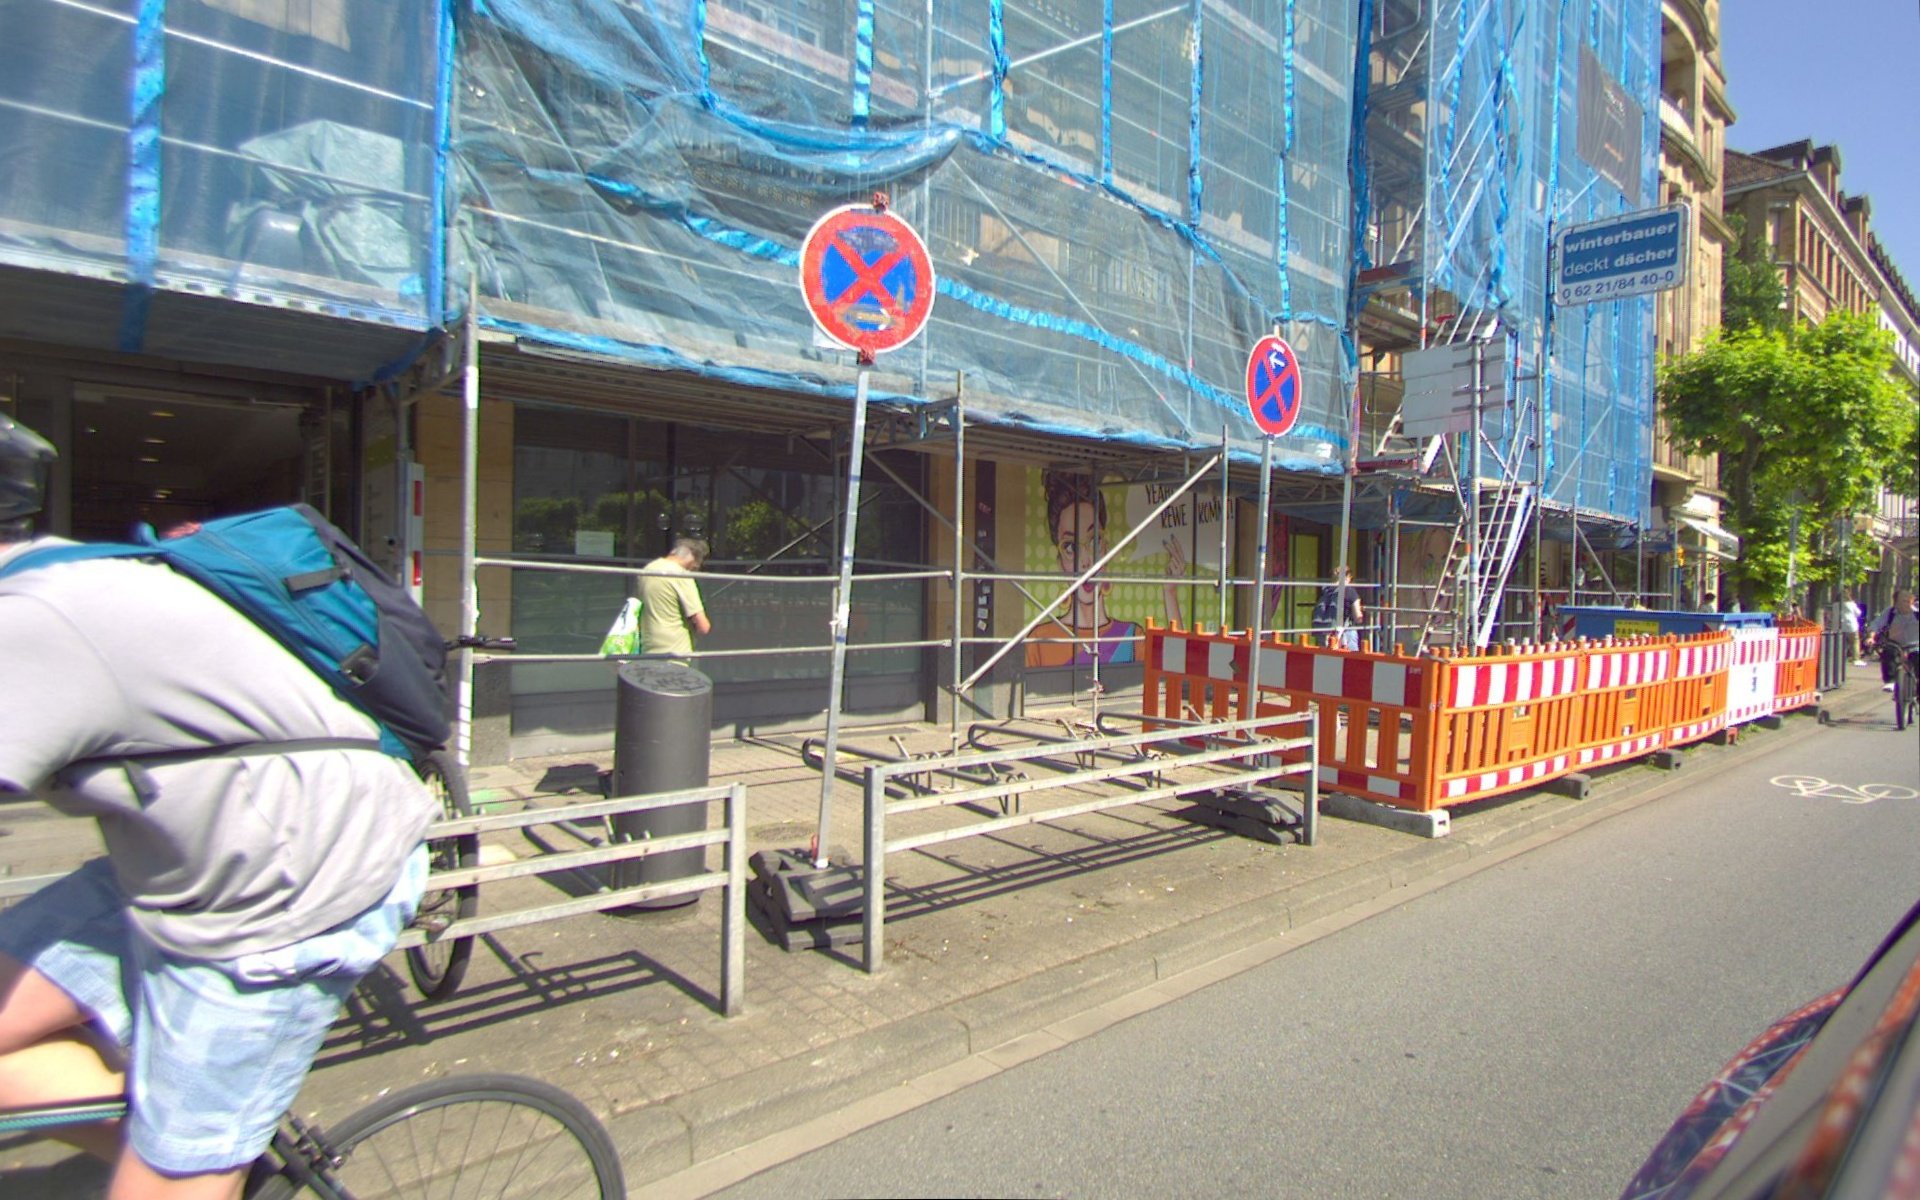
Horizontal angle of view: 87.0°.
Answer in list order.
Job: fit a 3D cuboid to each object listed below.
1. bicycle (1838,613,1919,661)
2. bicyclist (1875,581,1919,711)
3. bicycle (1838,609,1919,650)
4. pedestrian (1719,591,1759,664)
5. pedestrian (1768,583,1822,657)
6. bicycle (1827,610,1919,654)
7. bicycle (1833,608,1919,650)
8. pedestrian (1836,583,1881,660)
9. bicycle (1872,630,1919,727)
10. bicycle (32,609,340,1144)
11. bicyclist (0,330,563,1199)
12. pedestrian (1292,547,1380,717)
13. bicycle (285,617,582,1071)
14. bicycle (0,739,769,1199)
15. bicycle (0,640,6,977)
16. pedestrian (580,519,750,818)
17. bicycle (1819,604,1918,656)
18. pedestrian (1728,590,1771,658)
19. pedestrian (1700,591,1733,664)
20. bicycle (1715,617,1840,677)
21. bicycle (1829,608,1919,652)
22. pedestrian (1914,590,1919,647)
[{"bbox_3d":[21.371,0.838,23.469,0.646,1.031,1.755,0,0,6],"label":"bicycle"},{"bbox_3d":[12.063,0.561,12.689,0.764,1.597,0.749,0,-2,-41],"label":"bicyclist"},{"bbox_3d":[24.059,0.757,26.362,0.474,1.031,1.755,0,0,-42],"label":"bicycle"},{"bbox_3d":[18.568,0.651,24.135,0.527,1.703,0.499,1,2,5],"label":"pedestrian"},{"bbox_3d":[21.696,0.495,26.308,0.874,1.871,0.818,0,2,-33],"label":"pedestrian"},{"bbox_3d":[22.686,0.777,25.096,0.547,1.031,1.755,0,0,-42],"label":"bicycle"},{"bbox_3d":[23.595,0.733,25.973,0.474,1.031,1.755,0,0,-42],"label":"bicycle"},{"bbox_3d":[20.351,0.464,22.940,0.654,1.704,0.646,0,1,33],"label":"pedestrian"},{"bbox_3d":[12.046,0.947,12.664,1.865,1.107,0.735,0,-1,-42],"label":"bicycle"},{"bbox_3d":[-2.399,0.630,3.134,0.598,1.193,1.697,0,-1,-39],"label":"bicycle"},{"bbox_3d":[-1.225,0.456,1.358,1.123,1.481,0.689,0,-2,-42],"label":"bicyclist"},{"bbox_3d":[4.143,0.343,11.154,0.638,1.799,0.640,0,-2,-40],"label":"pedestrian"},{"bbox_3d":[-1.922,0.665,3.562,0.598,1.193,1.697,0,-1,-39],"label":"bicycle"},{"bbox_3d":[-1.334,0.857,1.233,2.094,1.107,0.735,0,-1,-42],"label":"bicycle"},{"bbox_3d":[-2.965,0.688,2.616,0.598,1.111,1.697,0,0,-39],"label":"bicycle"},{"bbox_3d":[-1.750,0.376,6.001,0.752,1.622,0.644,0,-2,-43],"label":"pedestrian"},{"bbox_3d":[22.214,0.718,24.777,0.569,1.196,1.755,0,0,-42],"label":"bicycle"},{"bbox_3d":[21.353,0.637,27.376,0.966,1.803,0.670,0,1,-36],"label":"pedestrian"},{"bbox_3d":[17.987,0.649,24.066,0.467,1.704,0.382,1,1,-5],"label":"pedestrian"},{"bbox_3d":[15.217,0.857,18.878,0.474,1.031,1.755,0,0,-42],"label":"bicycle"},{"bbox_3d":[23.156,0.737,25.558,0.577,1.031,1.755,0,1,-42],"label":"bicycle"},{"bbox_3d":[28.129,0.542,29.302,0.598,1.646,0.635,4,2,38],"label":"pedestrian"}]
